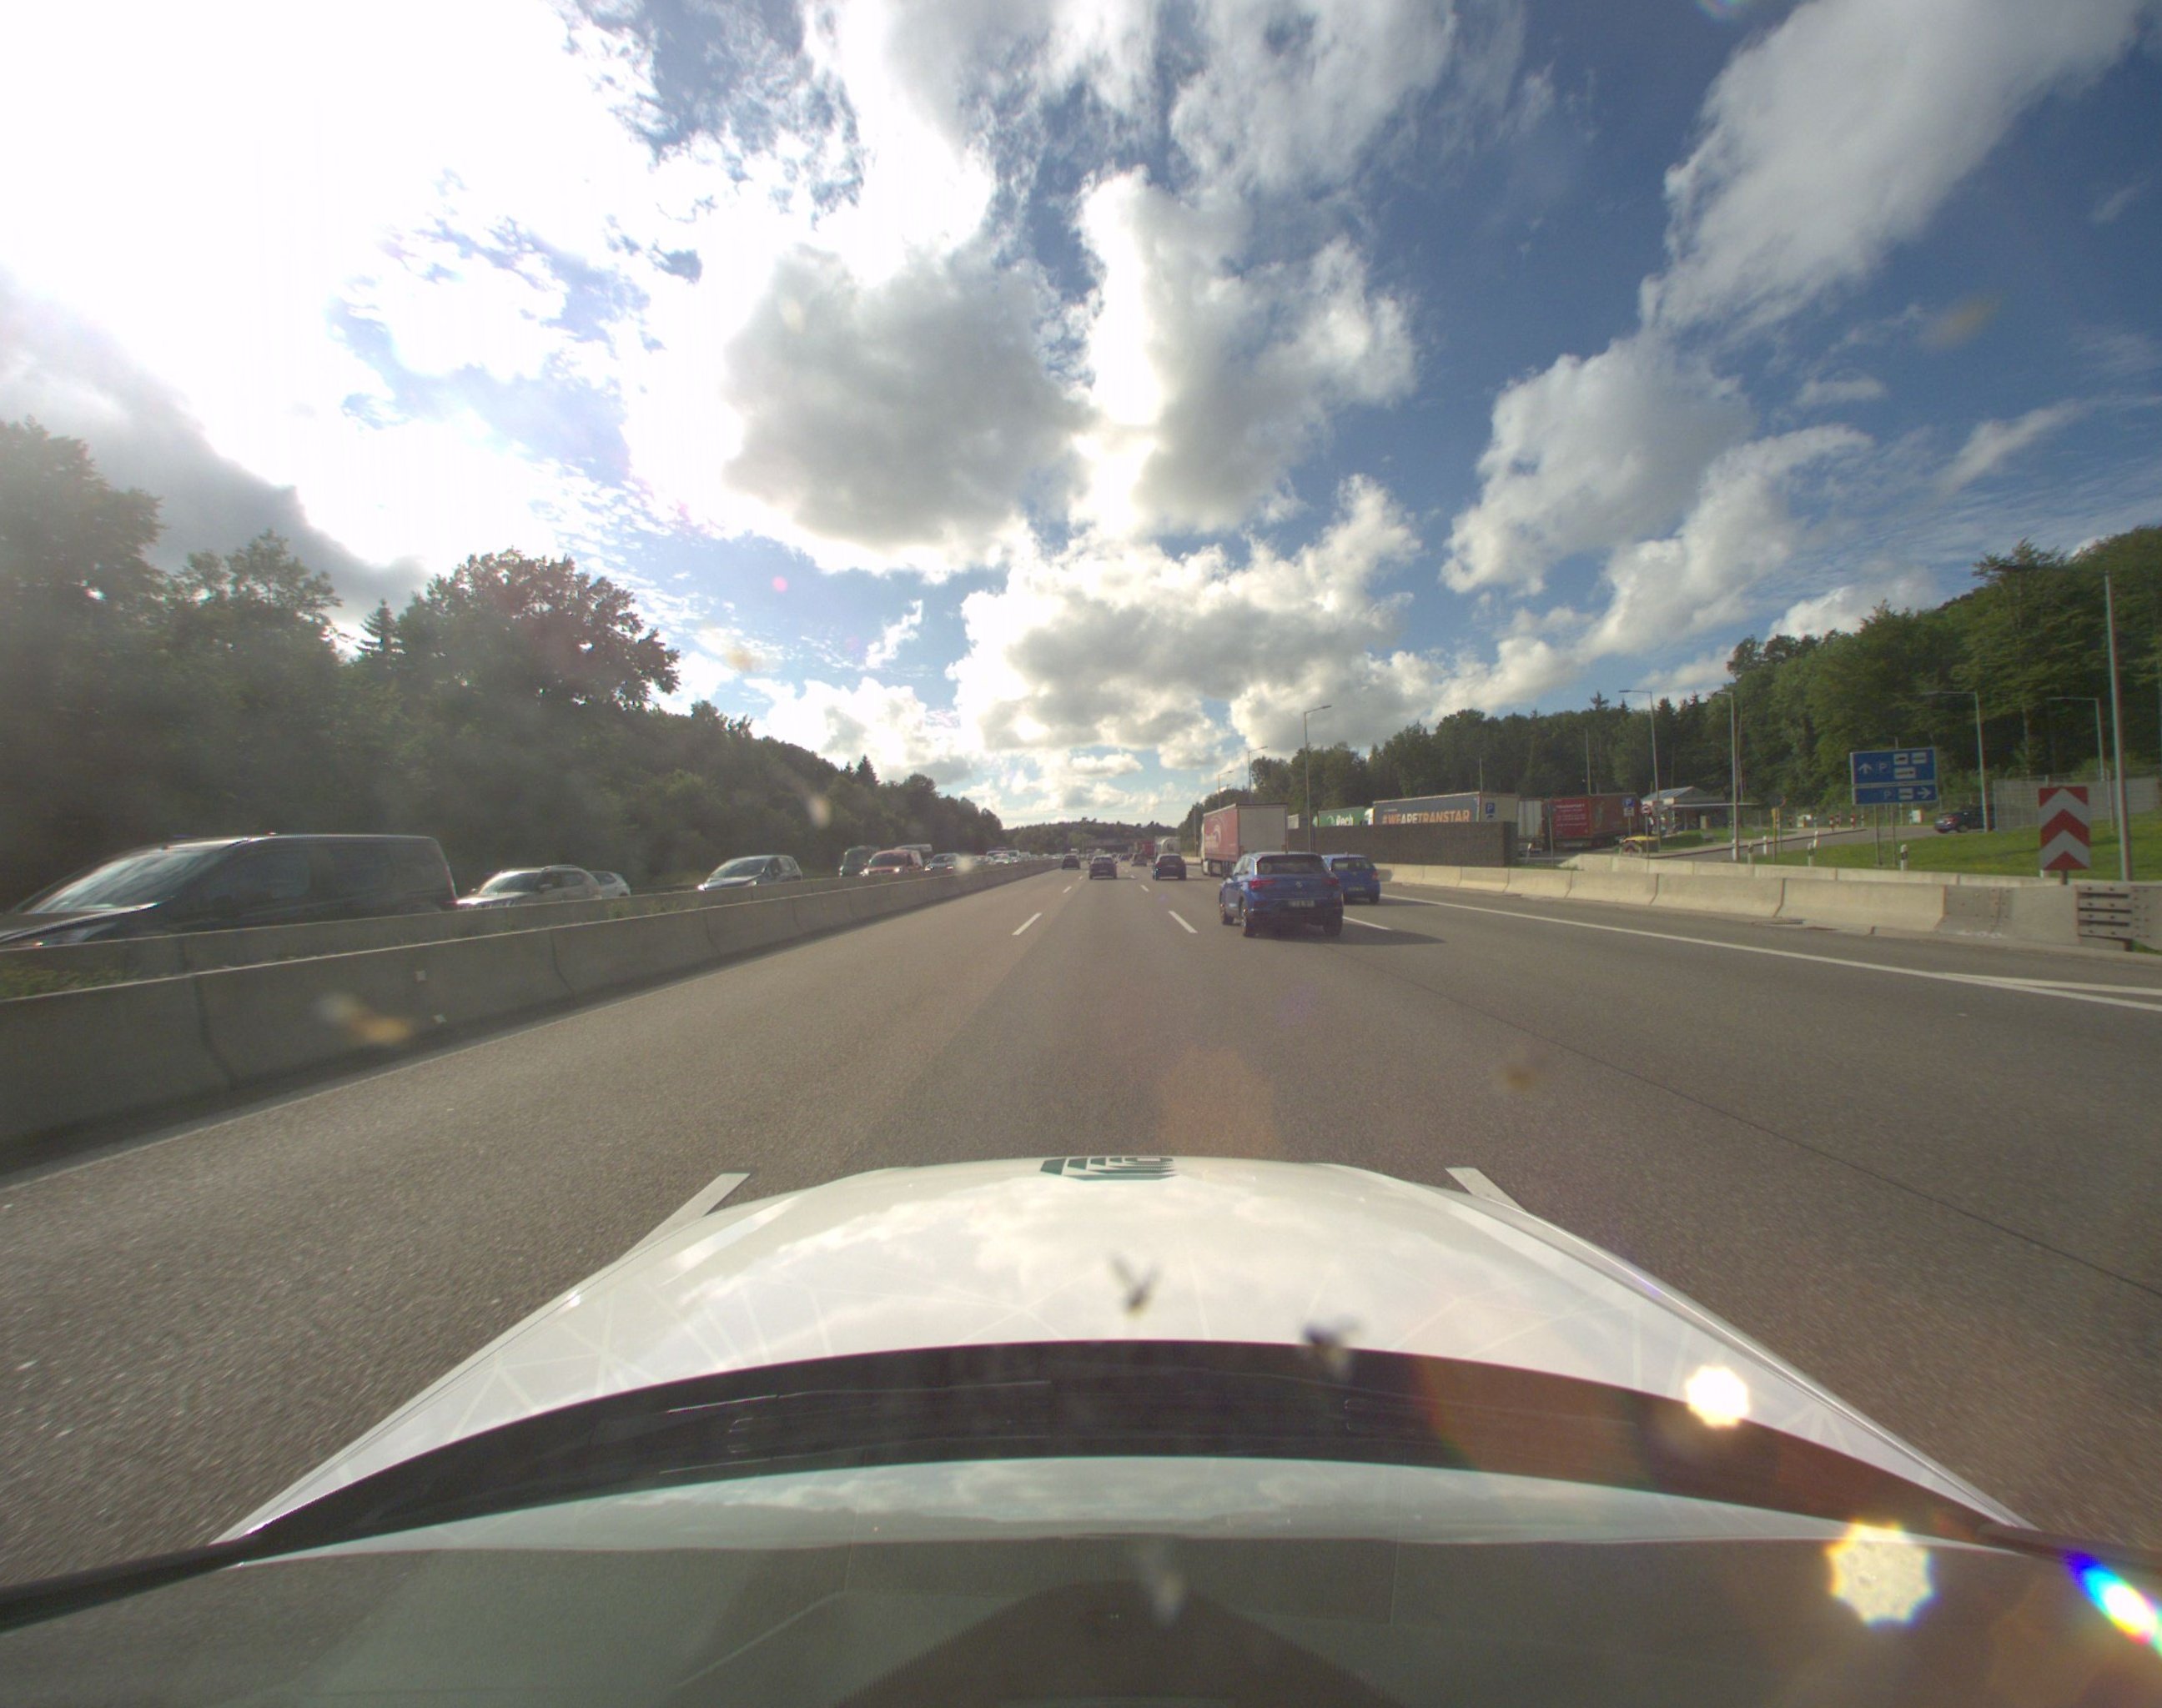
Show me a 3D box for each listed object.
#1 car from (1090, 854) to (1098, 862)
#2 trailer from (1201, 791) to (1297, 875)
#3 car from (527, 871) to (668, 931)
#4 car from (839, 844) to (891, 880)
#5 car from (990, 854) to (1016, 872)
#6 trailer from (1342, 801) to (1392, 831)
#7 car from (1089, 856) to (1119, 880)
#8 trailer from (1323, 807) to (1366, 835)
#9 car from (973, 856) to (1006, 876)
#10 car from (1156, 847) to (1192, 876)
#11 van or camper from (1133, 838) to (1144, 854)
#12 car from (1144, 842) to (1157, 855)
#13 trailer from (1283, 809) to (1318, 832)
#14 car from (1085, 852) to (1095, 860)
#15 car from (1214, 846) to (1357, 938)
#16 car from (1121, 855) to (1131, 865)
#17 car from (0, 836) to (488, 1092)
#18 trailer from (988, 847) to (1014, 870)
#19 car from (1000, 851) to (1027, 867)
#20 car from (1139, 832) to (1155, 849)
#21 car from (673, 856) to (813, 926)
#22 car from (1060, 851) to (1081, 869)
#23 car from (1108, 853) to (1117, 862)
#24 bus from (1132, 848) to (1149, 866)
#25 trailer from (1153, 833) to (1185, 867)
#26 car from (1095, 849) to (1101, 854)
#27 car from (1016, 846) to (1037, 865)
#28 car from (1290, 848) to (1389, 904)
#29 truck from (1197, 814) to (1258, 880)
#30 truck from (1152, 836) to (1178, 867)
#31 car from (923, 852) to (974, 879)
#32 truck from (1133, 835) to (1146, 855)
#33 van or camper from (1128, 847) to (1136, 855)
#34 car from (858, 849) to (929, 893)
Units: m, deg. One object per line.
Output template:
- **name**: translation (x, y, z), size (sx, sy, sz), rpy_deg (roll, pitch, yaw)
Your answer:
- **car**: translation (3.313, 1.154, 214.414), size (1.987, 2.014, 3.999), rpy_deg (-1, 0, -1)
- **trailer**: translation (9.241, -0.839, 46.792), size (3.027, 4.035, 13.893), rpy_deg (-1, -2, 2)
- **car**: translation (-16.425, 1.536, 28.000), size (1.985, 1.762, 4.462), rpy_deg (-1, 0, 3)
- **car**: translation (-15.251, 0.541, 57.816), size (1.985, 2.373, 5.333), rpy_deg (0, 0, 3)
- **car**: translation (-7.136, 0.822, 75.063), size (1.758, 1.572, 4.360), rpy_deg (0, 0, 3)
- **trailer**: translation (23.328, -3.056, 66.710), size (1.986, 2.014, 6.194), rpy_deg (-1, -2, 1)
- **car**: translation (1.411, 0.883, 51.663), size (1.728, 1.365, 3.999), rpy_deg (-3, -1, 0)
- **trailer**: translation (23.412, -2.892, 72.643), size (1.987, 2.014, 5.775), rpy_deg (-1, -2, 0)
- **car**: translation (-7.496, 0.931, 67.214), size (1.985, 1.572, 4.360), rpy_deg (0, 0, 3)
- **car**: translation (5.377, 0.456, 47.511), size (1.792, 1.644, 4.002), rpy_deg (0, -1, 2)
- **van or camper**: translation (12.488, -1.682, 176.484), size (2.342, 3.144, 5.714), rpy_deg (-1, -2, 3)
- **car**: translation (12.121, -0.926, 141.834), size (1.986, 2.014, 4.001), rpy_deg (-1, -2, 2)
- **trailer**: translation (23.564, -3.556, 87.547), size (2.043, 2.014, 6.965), rpy_deg (-1, -2, 2)
- **car**: translation (2.098, 0.504, 186.878), size (2.146, 1.776, 4.002), rpy_deg (0, -1, 2)
- **car**: translation (3.883, 0.635, 16.289), size (1.916, 1.541, 4.649), rpy_deg (0, 1, 3)
- **car**: translation (9.240, 1.342, 167.955), size (1.986, 2.014, 4.001), rpy_deg (0, -1, 2)
- **car**: translation (-8.899, 0.893, 8.665), size (1.810, 2.014, 4.454), rpy_deg (-1, -1, 2)
- **trailer**: translation (-10.278, 0.589, 105.182), size (2.271, 2.786, 8.542), rpy_deg (-1, 0, 1)
- **car**: translation (-6.876, 0.462, 83.628), size (1.985, 1.572, 5.333), rpy_deg (1, 0, 3)
- **car**: translation (12.224, -2.499, 151.493), size (2.854, 2.992, 5.152), rpy_deg (-1, -2, 3)
- **car**: translation (-9.276, 0.974, 22.812), size (1.850, 1.763, 4.462), rpy_deg (-1, -1, 3)
- **car**: translation (-1.086, 0.650, 86.494), size (1.986, 1.776, 4.002), rpy_deg (-2, 0, 2)
- **car**: translation (7.470, 0.791, 192.238), size (1.986, 2.014, 4.001), rpy_deg (-2, -2, 2)
- **bus**: translation (7.131, 0.390, 98.085), size (1.986, 2.014, 4.001), rpy_deg (-1, -2, 2)
- **trailer**: translation (11.374, -0.424, 105.974), size (3.025, 4.016, 12.247), rpy_deg (-1, -1, 1)
- **car**: translation (5.304, -0.760, 254.569), size (1.617, 1.470, 3.816), rpy_deg (0, -1, 2)
- **car**: translation (-6.250, 0.176, 94.165), size (1.987, 2.014, 4.676), rpy_deg (-1, -2, 0)
- **car**: translation (7.784, 0.667, 24.912), size (1.709, 1.511, 4.303), rpy_deg (-2, -1, 1)
- **truck**: translation (9.509, -0.337, 53.539), size (3.069, 4.064, 6.071), rpy_deg (-1, -2, 2)
- **truck**: translation (11.529, -0.289, 112.072), size (3.034, 4.160, 7.129), rpy_deg (-1, -1, 2)
- **car**: translation (-8.073, 0.663, 50.138), size (1.985, 1.572, 5.211), rpy_deg (0, 0, 3)
- **truck**: translation (12.106, -1.861, 169.215), size (2.348, 3.573, 11.274), rpy_deg (-1, -2, 3)
- **van or camper**: translation (16.170, -0.972, 258.327), size (2.076, 2.493, 4.226), rpy_deg (-1, 0, 2)
- **car**: translation (-7.939, 0.679, 35.029), size (1.870, 1.762, 5.292), rpy_deg (-1, 0, -1)
